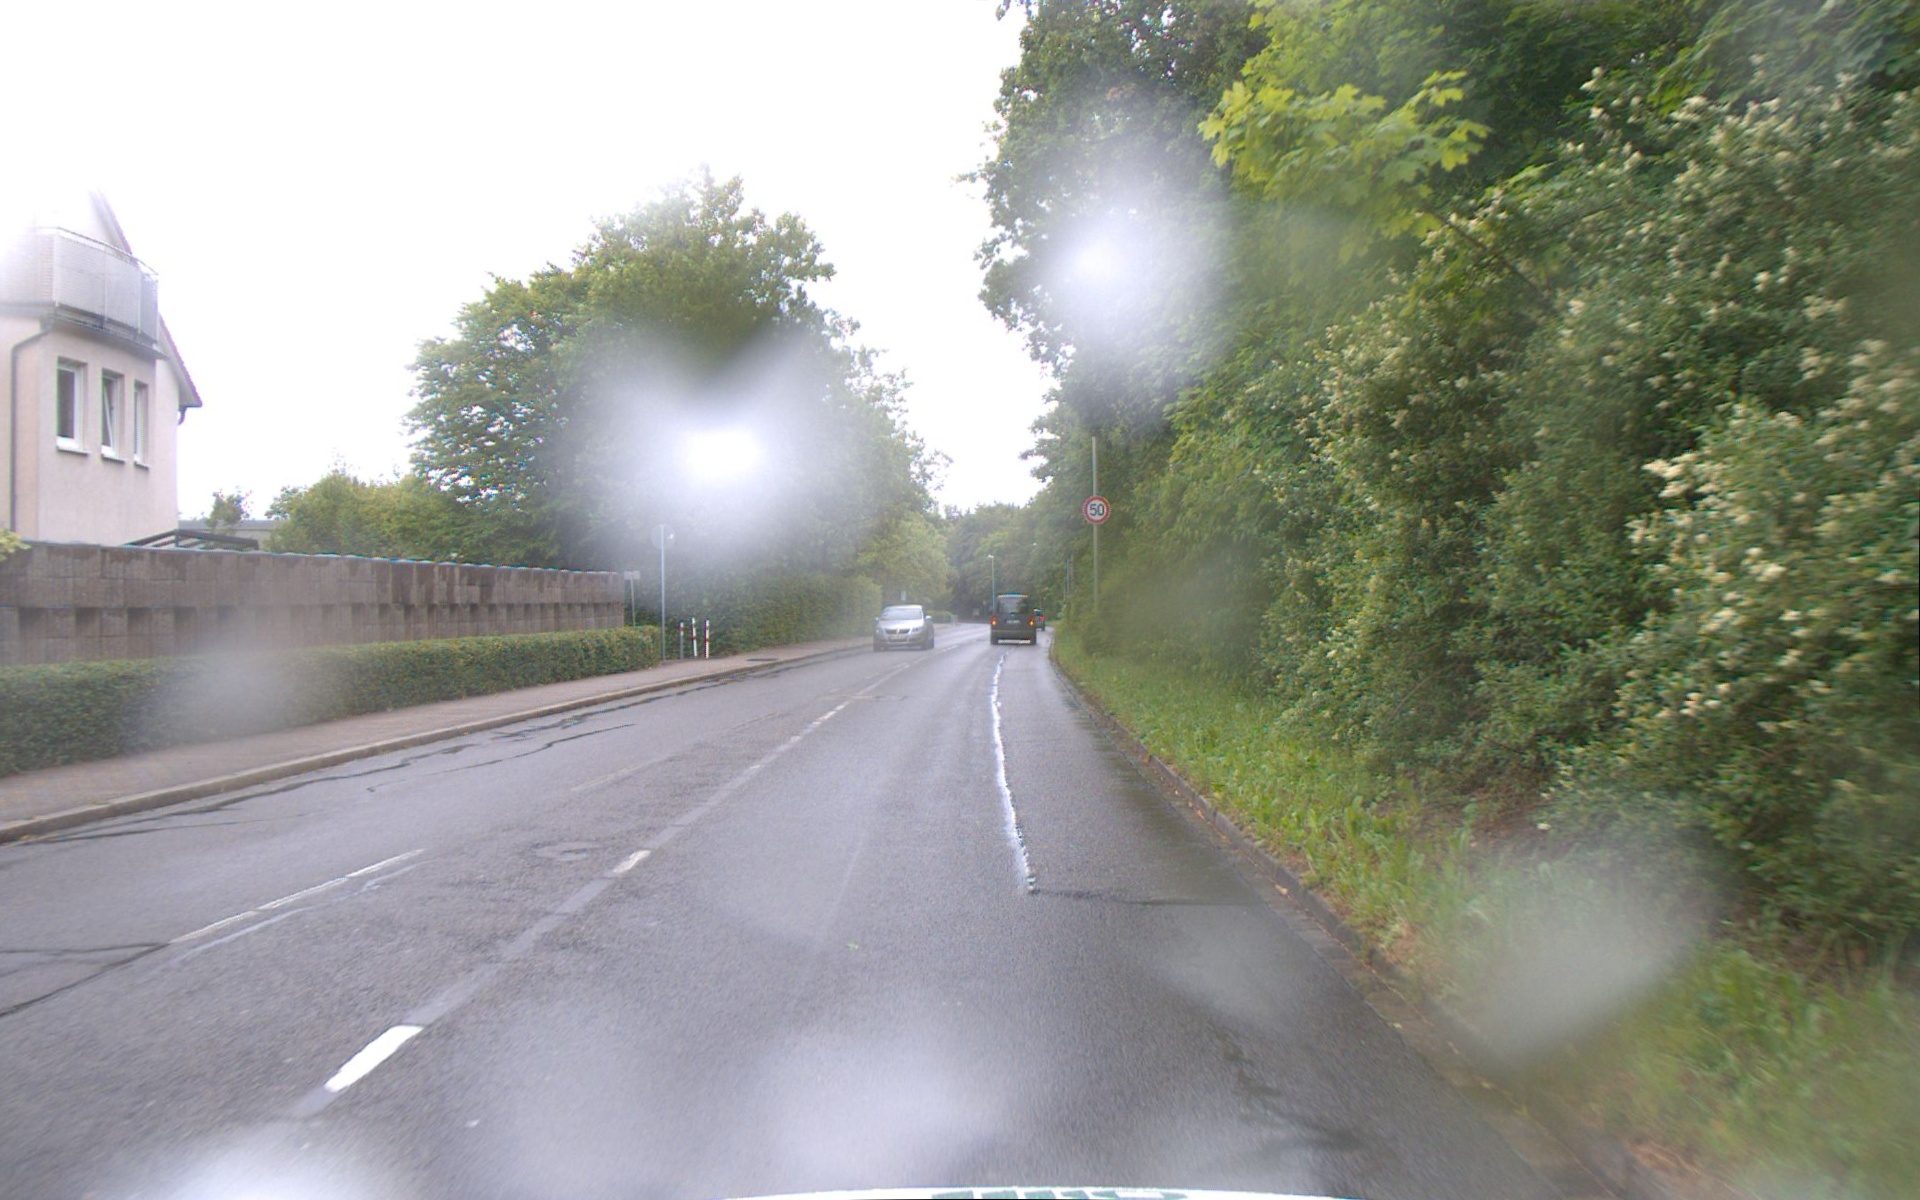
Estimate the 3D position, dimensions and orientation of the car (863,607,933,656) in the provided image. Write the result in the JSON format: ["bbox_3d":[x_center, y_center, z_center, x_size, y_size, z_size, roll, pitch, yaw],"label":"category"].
[{"bbox_3d":[-1.989,0.999,54.553,1.952,1.445,4.487,-2,0,2],"label":"car"}]

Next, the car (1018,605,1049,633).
[{"bbox_3d":[5.149,1.319,116.407,1.910,1.780,4.000,-1,1,0],"label":"car"}]

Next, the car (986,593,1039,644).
[{"bbox_3d":[2.033,0.668,63.783,1.952,1.825,4.002,1,1,2],"label":"car"}]
